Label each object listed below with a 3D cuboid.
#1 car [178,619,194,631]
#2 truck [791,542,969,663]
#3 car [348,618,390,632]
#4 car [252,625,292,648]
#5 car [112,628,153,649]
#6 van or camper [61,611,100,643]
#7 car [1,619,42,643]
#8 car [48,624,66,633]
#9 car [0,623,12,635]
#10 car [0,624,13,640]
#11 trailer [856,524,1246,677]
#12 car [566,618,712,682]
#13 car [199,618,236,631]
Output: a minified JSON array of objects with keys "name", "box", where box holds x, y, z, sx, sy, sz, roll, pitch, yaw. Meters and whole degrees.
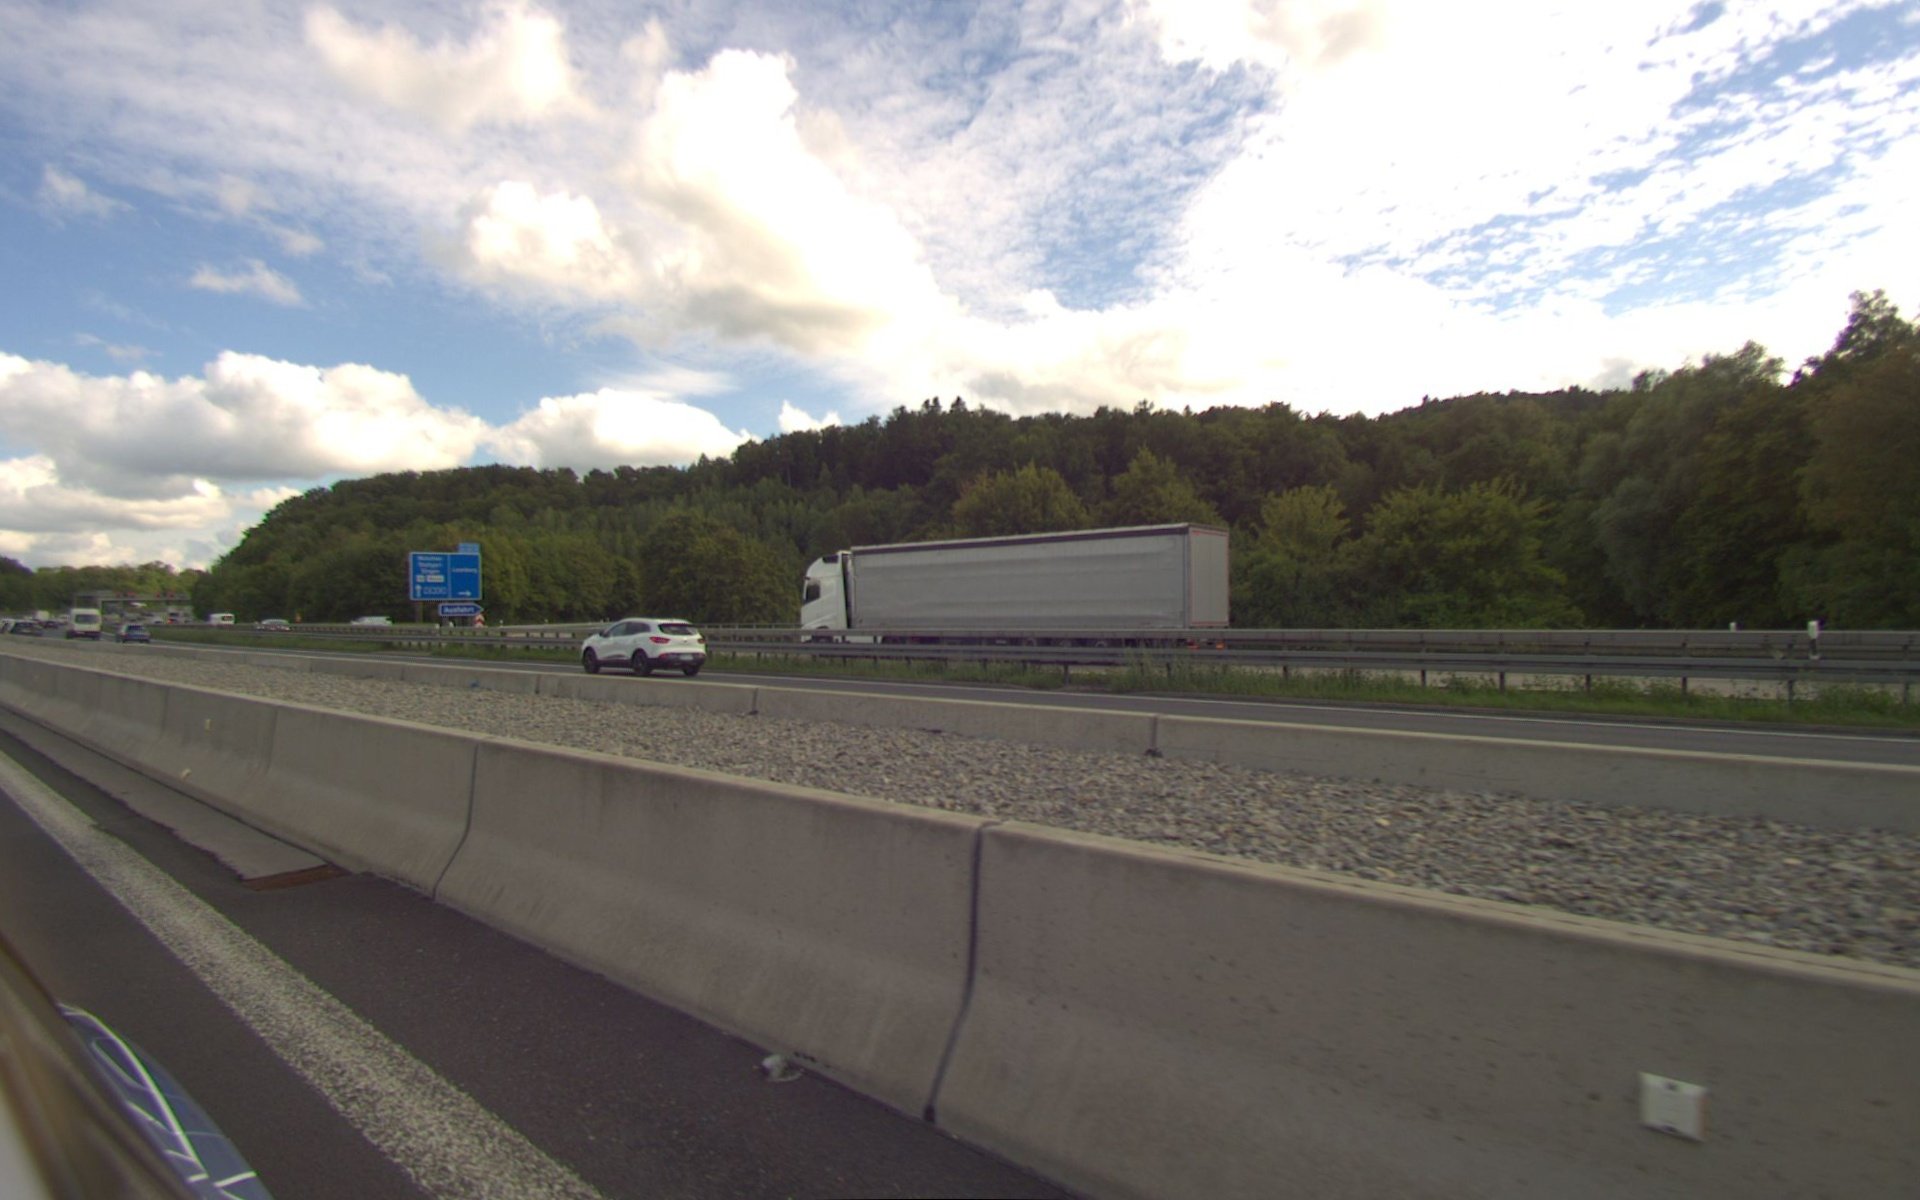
[{"name":"car","box":[-134.842,4.312,176.262,1.969,2.029,4.006,1,-1,-41]},{"name":"truck","box":[-3.062,0.128,37.594,6.284,4.097,3.119,-1,-1,41]},{"name":"car","box":[-88.518,3.736,151.557,5.080,1.937,2.175,0,-1,-3]},{"name":"car","box":[-56.510,2.977,83.138,4.001,1.852,1.971,-1,-1,44]},{"name":"car","box":[-62.449,2.887,76.360,4.206,1.432,1.732,-1,-1,41]},{"name":"van or camper","box":[-74.477,2.258,85.668,5.425,2.554,2.076,-1,-1,45]},{"name":"car","box":[-65.709,2.148,70.855,4.840,1.642,1.731,-1,-1,43]},{"name":"car","box":[-145.144,4.579,162.651,1.871,1.464,3.943,1,-1,-39]},{"name":"car","box":[-117.848,3.526,124.334,1.729,1.464,3.943,1,-1,-39]},{"name":"car","box":[-90.931,3.003,95.599,4.424,1.432,1.844,-1,-1,43]},{"name":"trailer","box":[2.325,0.110,32.867,13.381,4.124,3.119,-1,-1,41]},{"name":"car","box":[-9.096,1.340,28.459,4.753,1.642,1.779,-1,-1,43]},{"name":"car","box":[-116.934,3.841,159.357,5.110,2.029,1.990,0,-1,16]}]
